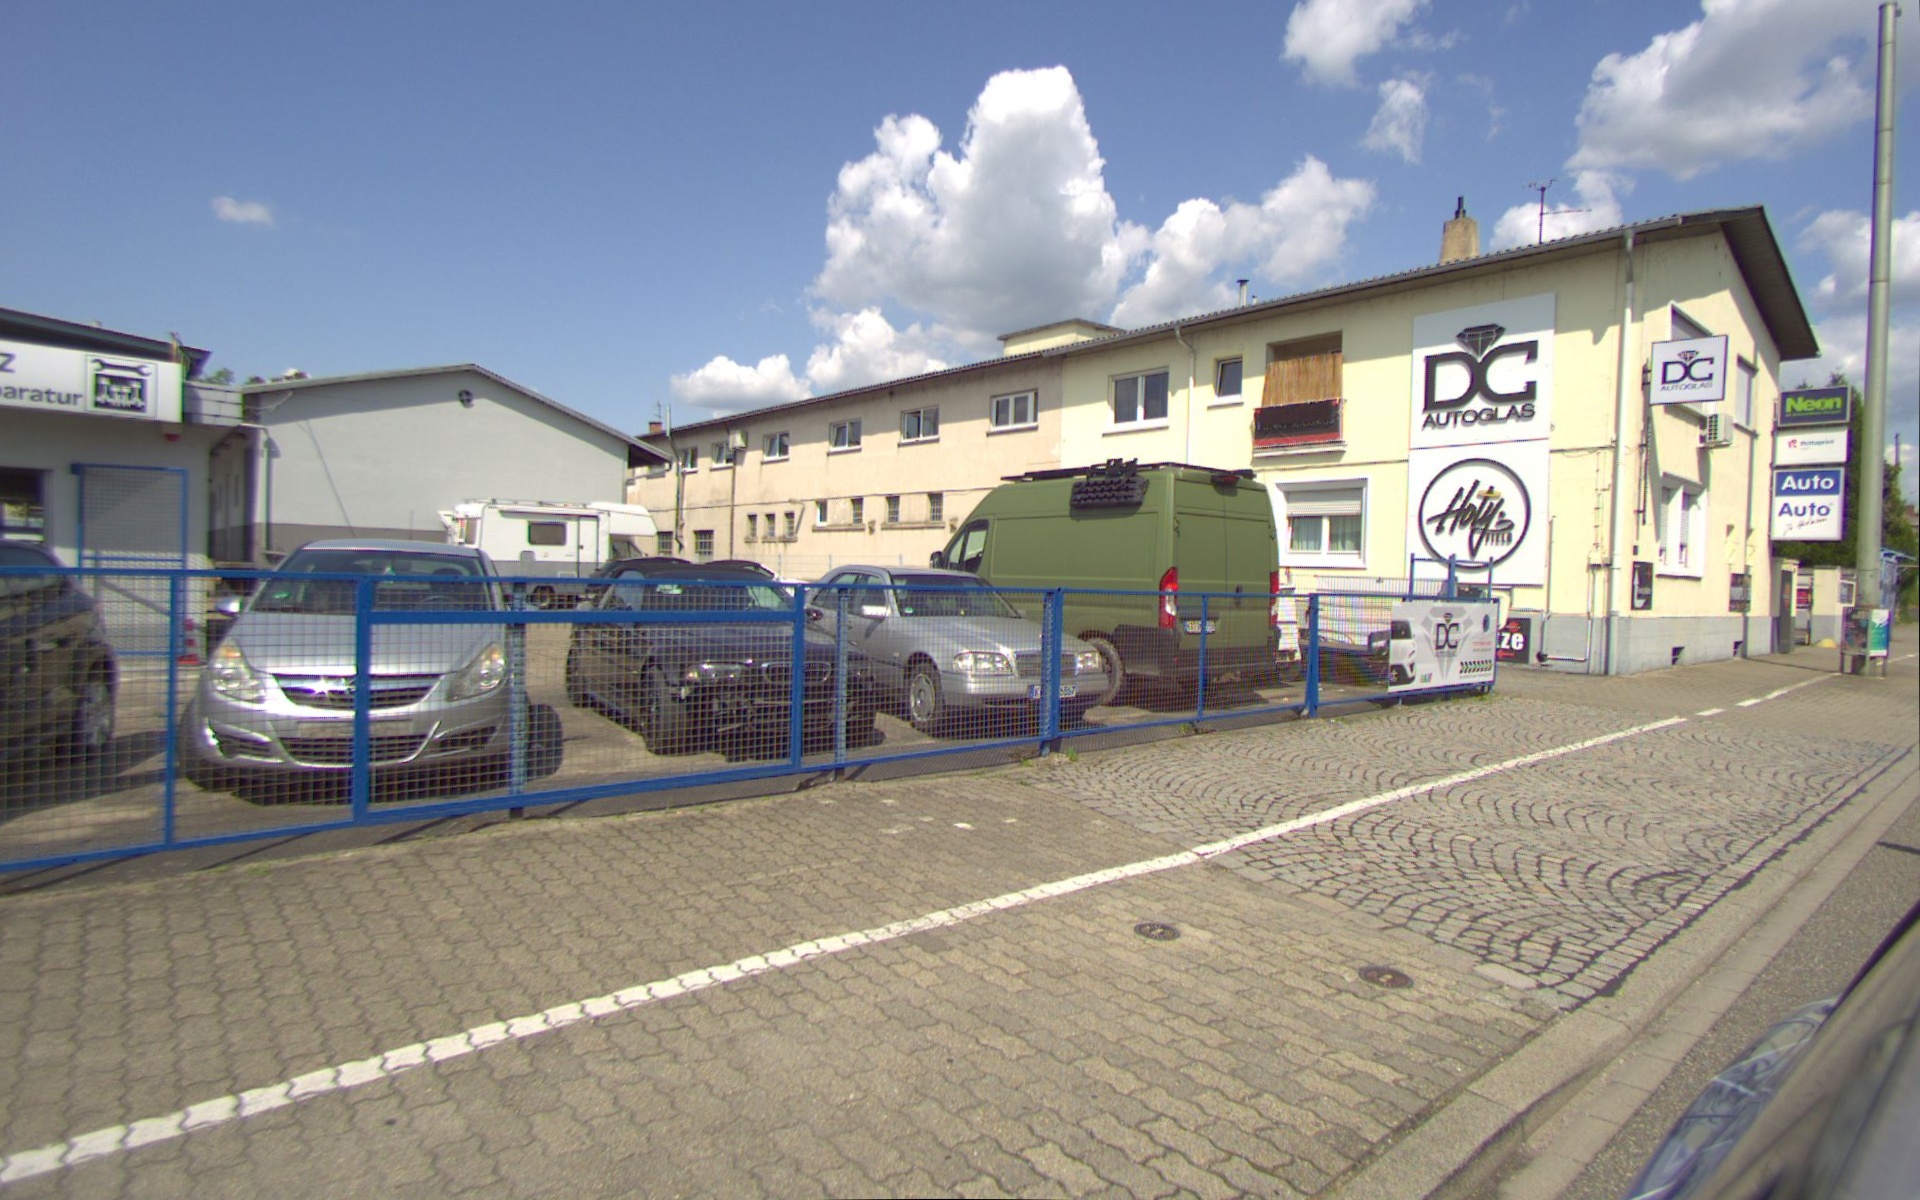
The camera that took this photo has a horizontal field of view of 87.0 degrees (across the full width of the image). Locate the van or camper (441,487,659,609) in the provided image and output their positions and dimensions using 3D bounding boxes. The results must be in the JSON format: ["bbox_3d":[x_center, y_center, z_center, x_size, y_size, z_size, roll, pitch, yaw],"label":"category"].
[{"bbox_3d":[-11.005,-1.322,27.366,4.971,2.999,2.284,0,2,-42],"label":"van or camper"}]

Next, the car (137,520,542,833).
[{"bbox_3d":[-3.950,0.303,7.099,1.766,1.497,4.158,1,2,-24],"label":"car"}]

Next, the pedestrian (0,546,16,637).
[{"bbox_3d":[-13.257,-0.128,13.839,0.479,1.228,0.501,1,1,-42],"label":"pedestrian"}]

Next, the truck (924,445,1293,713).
[{"bbox_3d":[1.624,-0.283,12.142,2.033,2.639,3.996,1,2,-40],"label":"truck"}]

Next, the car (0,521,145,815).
[{"bbox_3d":[-5.746,0.325,5.031,1.685,1.497,4.012,1,2,-25],"label":"car"}]

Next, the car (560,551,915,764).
[{"bbox_3d":[-2.124,0.312,8.743,1.768,1.403,3.837,1,2,-32],"label":"car"}]

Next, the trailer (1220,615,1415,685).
[{"bbox_3d":[5.083,0.672,14.525,1.245,0.776,2.330,0,2,-39],"label":"trailer"}]

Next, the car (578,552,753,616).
[{"bbox_3d":[-7.477,-0.409,25.887,3.939,1.497,1.719,0,2,-41],"label":"car"}]

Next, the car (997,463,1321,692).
[{"bbox_3d":[2.613,-0.343,14.140,1.771,2.702,4.208,1,2,-40],"label":"car"}]

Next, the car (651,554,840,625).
[{"bbox_3d":[-4.924,-0.244,23.517,3.939,1.497,1.719,0,2,-41],"label":"car"}]

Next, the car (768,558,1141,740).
[{"bbox_3d":[-0.295,0.322,10.202,1.768,1.413,4.216,1,2,-33],"label":"car"}]
